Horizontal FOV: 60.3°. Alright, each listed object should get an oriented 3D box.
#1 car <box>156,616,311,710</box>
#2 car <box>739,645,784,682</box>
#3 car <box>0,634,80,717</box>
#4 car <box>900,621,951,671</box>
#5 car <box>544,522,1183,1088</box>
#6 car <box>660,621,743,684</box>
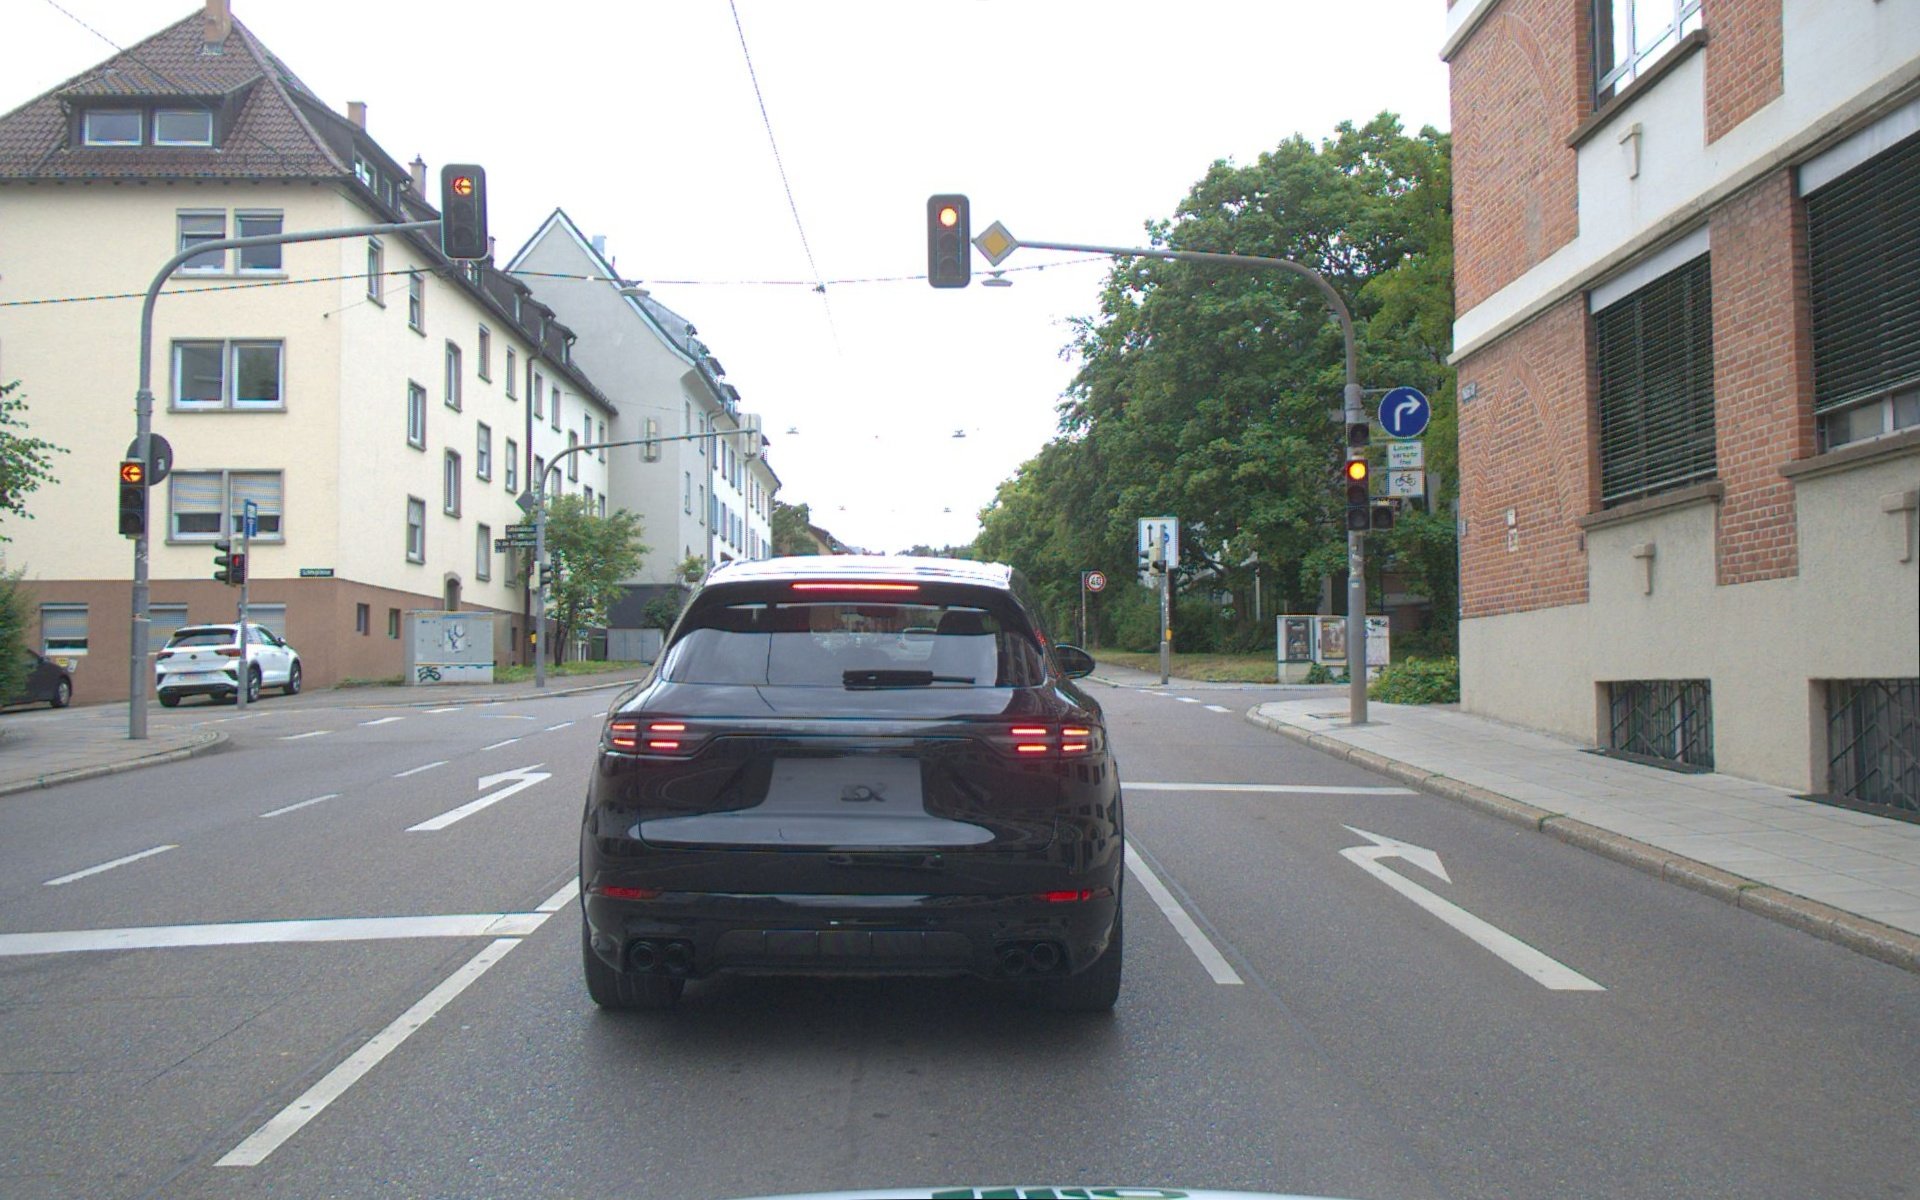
[{"bbox_3d":[-14.716,1.227,33.733,1.638,1.691,3.995,-3,0,-5],"label":"car"},{"bbox_3d":[-8.240,2.624,69.040,1.637,1.386,3.997,0,0,-4],"label":"car"},{"bbox_3d":[-19.730,1.560,33.470,1.636,1.573,4.100,-3,0,-1],"label":"car"},{"bbox_3d":[-1.217,1.553,56.703,1.654,1.579,3.887,1,0,-2],"label":"car"},{"bbox_3d":[-0.322,0.646,7.130,1.953,1.726,3.999,1,0,-1],"label":"car"},{"bbox_3d":[-7.086,1.422,45.714,1.630,1.545,3.739,-4,0,0],"label":"car"}]
